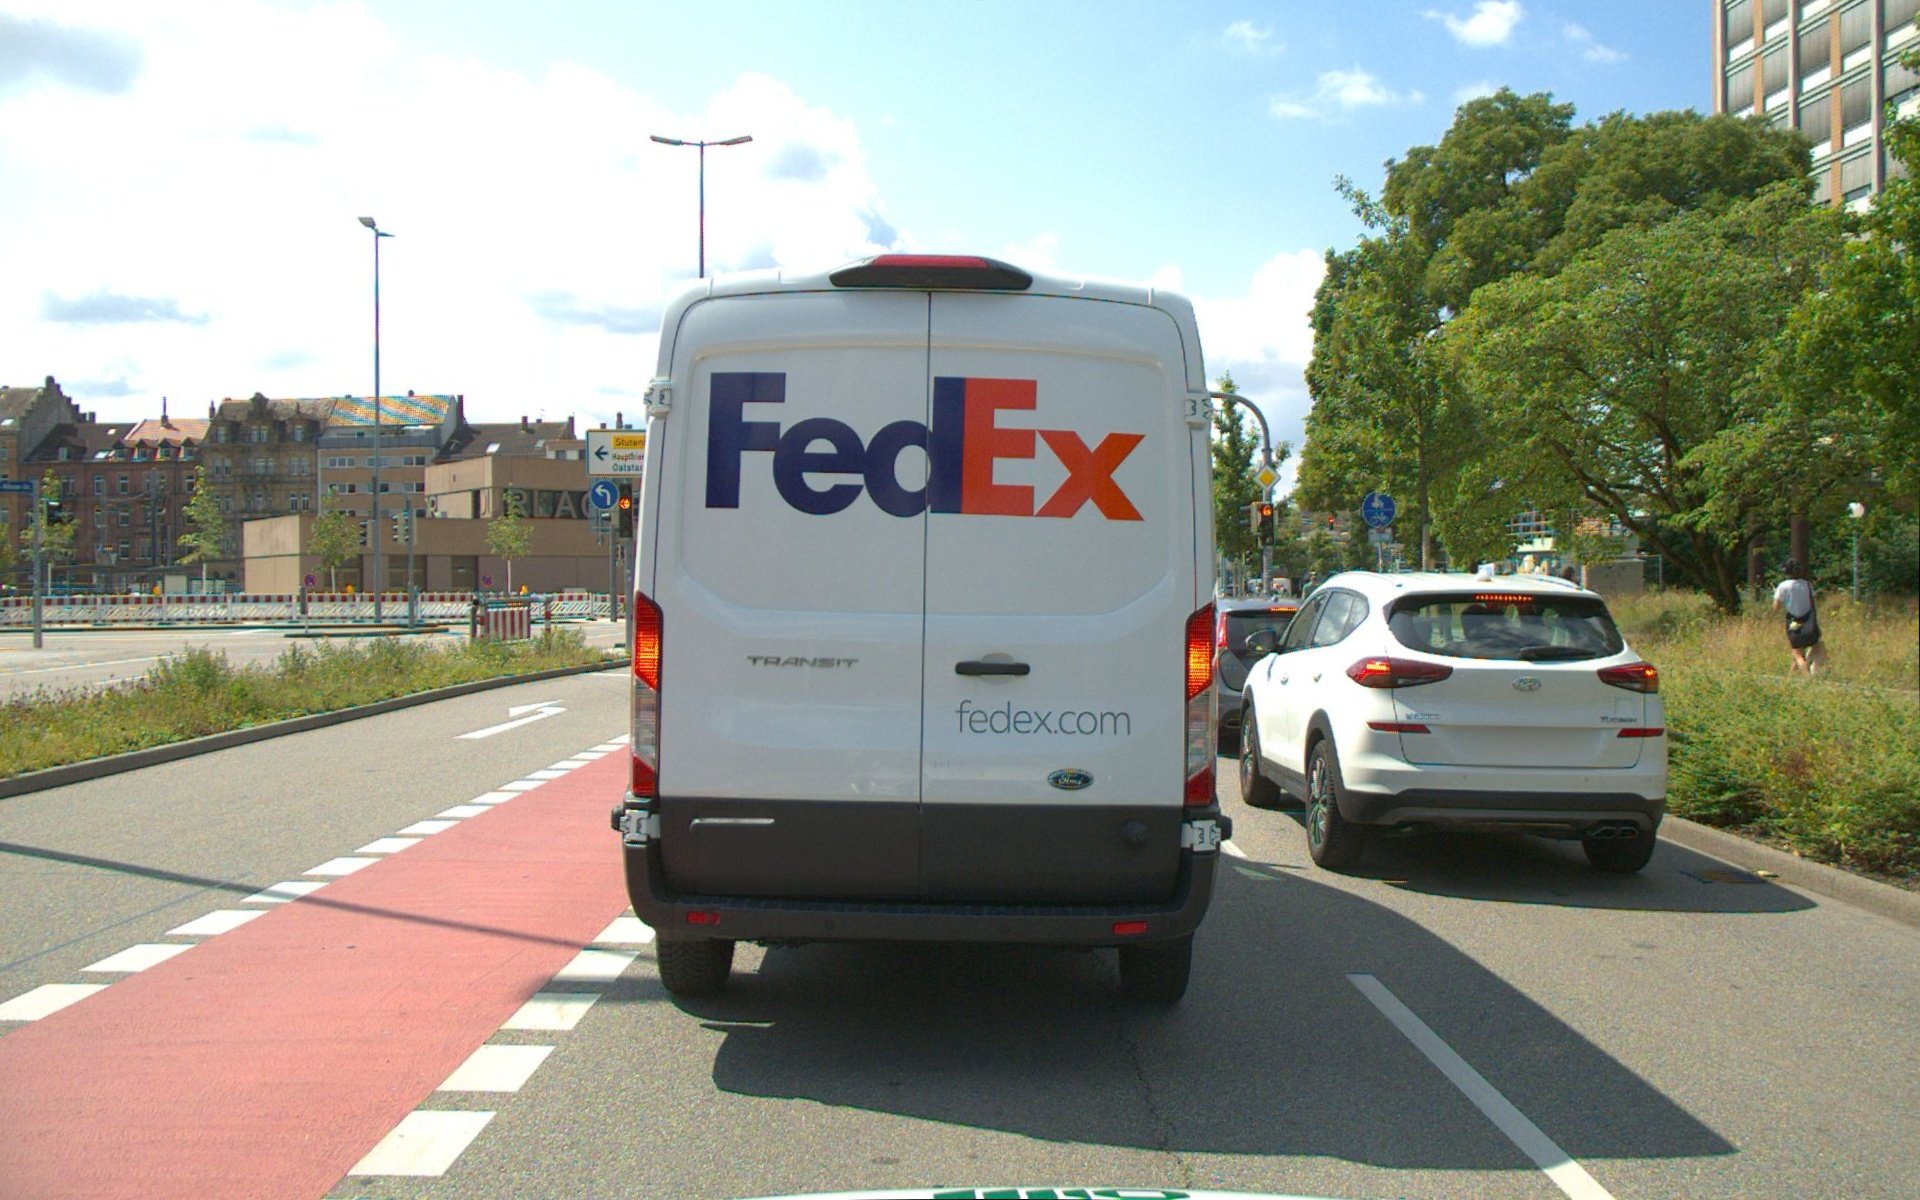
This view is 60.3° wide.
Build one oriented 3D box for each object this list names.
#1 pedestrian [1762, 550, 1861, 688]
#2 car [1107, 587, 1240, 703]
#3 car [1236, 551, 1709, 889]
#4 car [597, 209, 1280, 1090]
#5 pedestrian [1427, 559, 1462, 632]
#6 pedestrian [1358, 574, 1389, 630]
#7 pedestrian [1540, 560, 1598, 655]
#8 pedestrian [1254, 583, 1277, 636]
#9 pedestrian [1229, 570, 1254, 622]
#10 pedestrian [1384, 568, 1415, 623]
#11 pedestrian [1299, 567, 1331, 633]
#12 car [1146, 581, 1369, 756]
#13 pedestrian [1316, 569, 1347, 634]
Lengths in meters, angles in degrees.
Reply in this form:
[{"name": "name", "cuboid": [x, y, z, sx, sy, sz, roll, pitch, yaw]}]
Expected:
[{"name": "pedestrian", "cuboid": [9.977, 0.212, 19.401, 0.743, 1.584, 0.816, 0, 0, 1]}, {"name": "car", "cuboid": [2.939, 0.577, 23.315, 1.468, 1.489, 3.474, 0, 1, 1]}, {"name": "car", "cuboid": [2.928, 0.585, 10.370, 1.777, 1.708, 3.974, 0, 1, 1]}, {"name": "car", "cuboid": [-0.035, 0.125, 7.169, 2.030, 2.626, 4.428, 0, 1, 1]}, {"name": "pedestrian", "cuboid": [12.297, -0.117, 41.978, 0.742, 1.820, 0.817, 0, 0, 7]}, {"name": "pedestrian", "cuboid": [14.053, 0.058, 56.249, 0.745, 1.882, 0.814, -1, 0, -11]}, {"name": "pedestrian", "cuboid": [10.888, 0.127, 29.590, 0.743, 1.684, 0.816, 0, 0, 3]}, {"name": "pedestrian", "cuboid": [10.929, 0.349, 59.207, 0.742, 1.882, 0.817, 0, 0, 14]}, {"name": "pedestrian", "cuboid": [10.211, -0.144, 60.098, 0.796, 1.882, 0.761, 0, 0, 2]}, {"name": "pedestrian", "cuboid": [15.013, -0.163, 56.477, 0.745, 1.882, 0.814, 0, 0, -9]}, {"name": "pedestrian", "cuboid": [10.261, -0.006, 47.812, 0.743, 1.882, 0.816, 0, 0, 1]}, {"name": "car", "cuboid": [2.913, 0.600, 16.903, 1.656, 1.576, 3.721, 0, 1, 1]}, {"name": "pedestrian", "cuboid": [10.829, 0.029, 48.272, 0.743, 1.882, 0.816, 0, 0, 3]}]
